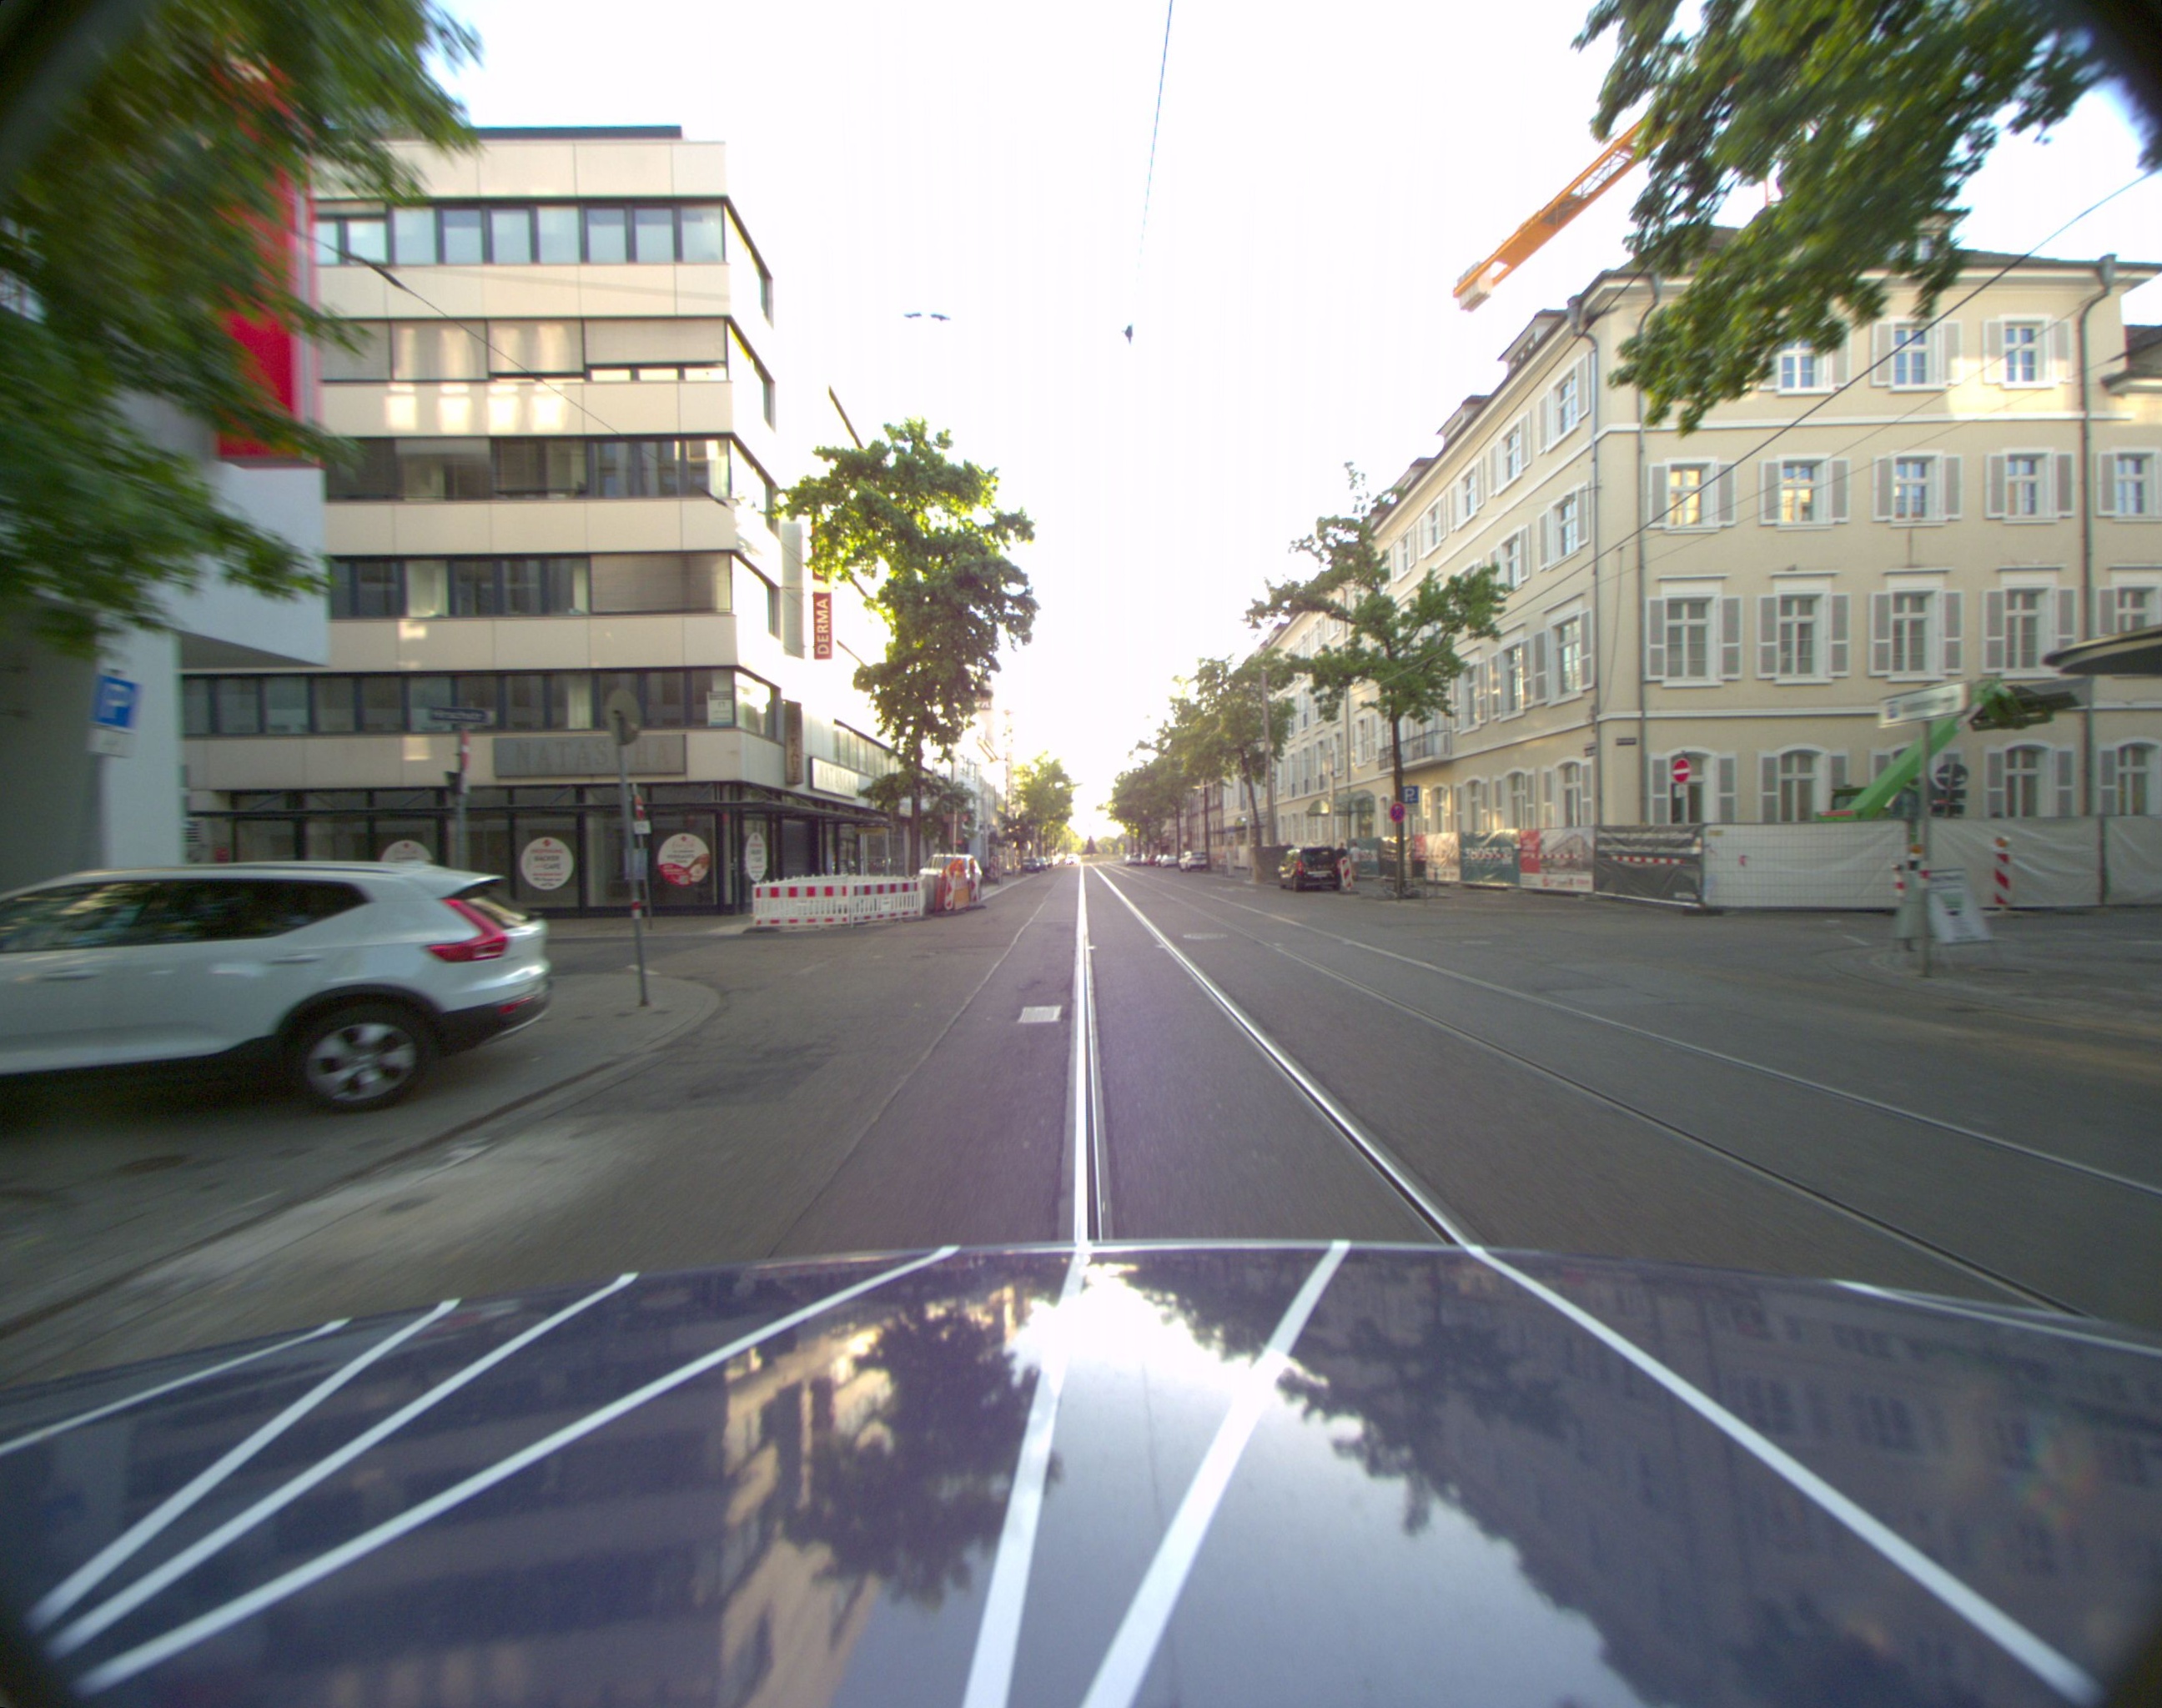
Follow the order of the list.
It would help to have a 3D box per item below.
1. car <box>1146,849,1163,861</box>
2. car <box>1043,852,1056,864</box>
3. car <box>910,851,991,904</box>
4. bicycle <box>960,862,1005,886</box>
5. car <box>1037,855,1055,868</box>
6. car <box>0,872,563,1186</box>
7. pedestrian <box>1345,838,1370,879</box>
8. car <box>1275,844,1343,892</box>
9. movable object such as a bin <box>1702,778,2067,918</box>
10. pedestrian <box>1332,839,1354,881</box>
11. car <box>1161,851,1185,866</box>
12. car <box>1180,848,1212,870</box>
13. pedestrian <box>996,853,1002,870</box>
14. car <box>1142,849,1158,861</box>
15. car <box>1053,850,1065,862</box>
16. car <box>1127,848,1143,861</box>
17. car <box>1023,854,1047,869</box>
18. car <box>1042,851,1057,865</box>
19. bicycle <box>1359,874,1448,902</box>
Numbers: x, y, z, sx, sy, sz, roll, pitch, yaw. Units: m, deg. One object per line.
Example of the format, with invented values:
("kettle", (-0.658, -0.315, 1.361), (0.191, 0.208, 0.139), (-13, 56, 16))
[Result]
("car", (9.896, 0.136, 102.026), (1.998, 1.567, 4.105), (-1, 0, 2))
("car", (-4.349, 0.540, 105.229), (1.686, 1.472, 3.846), (-1, 0, -1))
("car", (-4.694, 0.800, 27.986), (1.998, 1.761, 4.670), (1, 0, 2))
("bicycle", (-5.149, 1.060, 39.804), (2.163, 1.152, 0.761), (1, 2, 6))
("car", (-3.766, 0.771, 82.575), (1.738, 1.311, 4.104), (1, 0, -1))
("car", (-6.292, 1.006, 5.185), (4.278, 1.662, 1.948), (1, 1, -24))
("pedestrian", (12.813, 0.201, 35.196), (0.759, 1.874, 0.880), (-3, 1, 1))
("car", (9.321, 0.538, 31.322), (1.772, 1.754, 3.878), (-4, 0, 4))
("movable object such as a bin", (17.908, -0.162, 17.218), (5.562, 2.856, 2.643), (-1, 1, -2))
("pedestrian", (12.087, 0.272, 35.085), (0.679, 1.874, 0.769), (-3, 1, 1))
("car", (9.896, 0.446, 81.788), (1.998, 1.494, 4.104), (-1, 0, 0))
("car", (9.529, 0.389, 63.420), (1.998, 1.727, 4.104), (-1, 0, 0))
("pedestrian", (-7.496, 0.649, 69.414), (0.477, 1.547, 0.748), (-1, 2, 0))
("car", (9.793, 0.112, 108.021), (1.998, 1.540, 4.105), (-1, 0, 2))
("car", (-3.546, 0.286, 121.007), (1.738, 1.727, 4.104), (-1, 0, 0))
("car", (7.297, 0.036, 103.705), (1.998, 1.727, 4.105), (-1, 0, 2))
("car", (-4.405, 0.693, 72.887), (2.002, 1.354, 4.104), (0, 0, 0))
("car", (-4.182, 0.525, 99.797), (1.902, 1.683, 4.104), (-1, 0, -2))
("bicycle", (9.803, 1.022, 23.169), (2.076, 0.702, 1.330), (-2, 0, -6))
